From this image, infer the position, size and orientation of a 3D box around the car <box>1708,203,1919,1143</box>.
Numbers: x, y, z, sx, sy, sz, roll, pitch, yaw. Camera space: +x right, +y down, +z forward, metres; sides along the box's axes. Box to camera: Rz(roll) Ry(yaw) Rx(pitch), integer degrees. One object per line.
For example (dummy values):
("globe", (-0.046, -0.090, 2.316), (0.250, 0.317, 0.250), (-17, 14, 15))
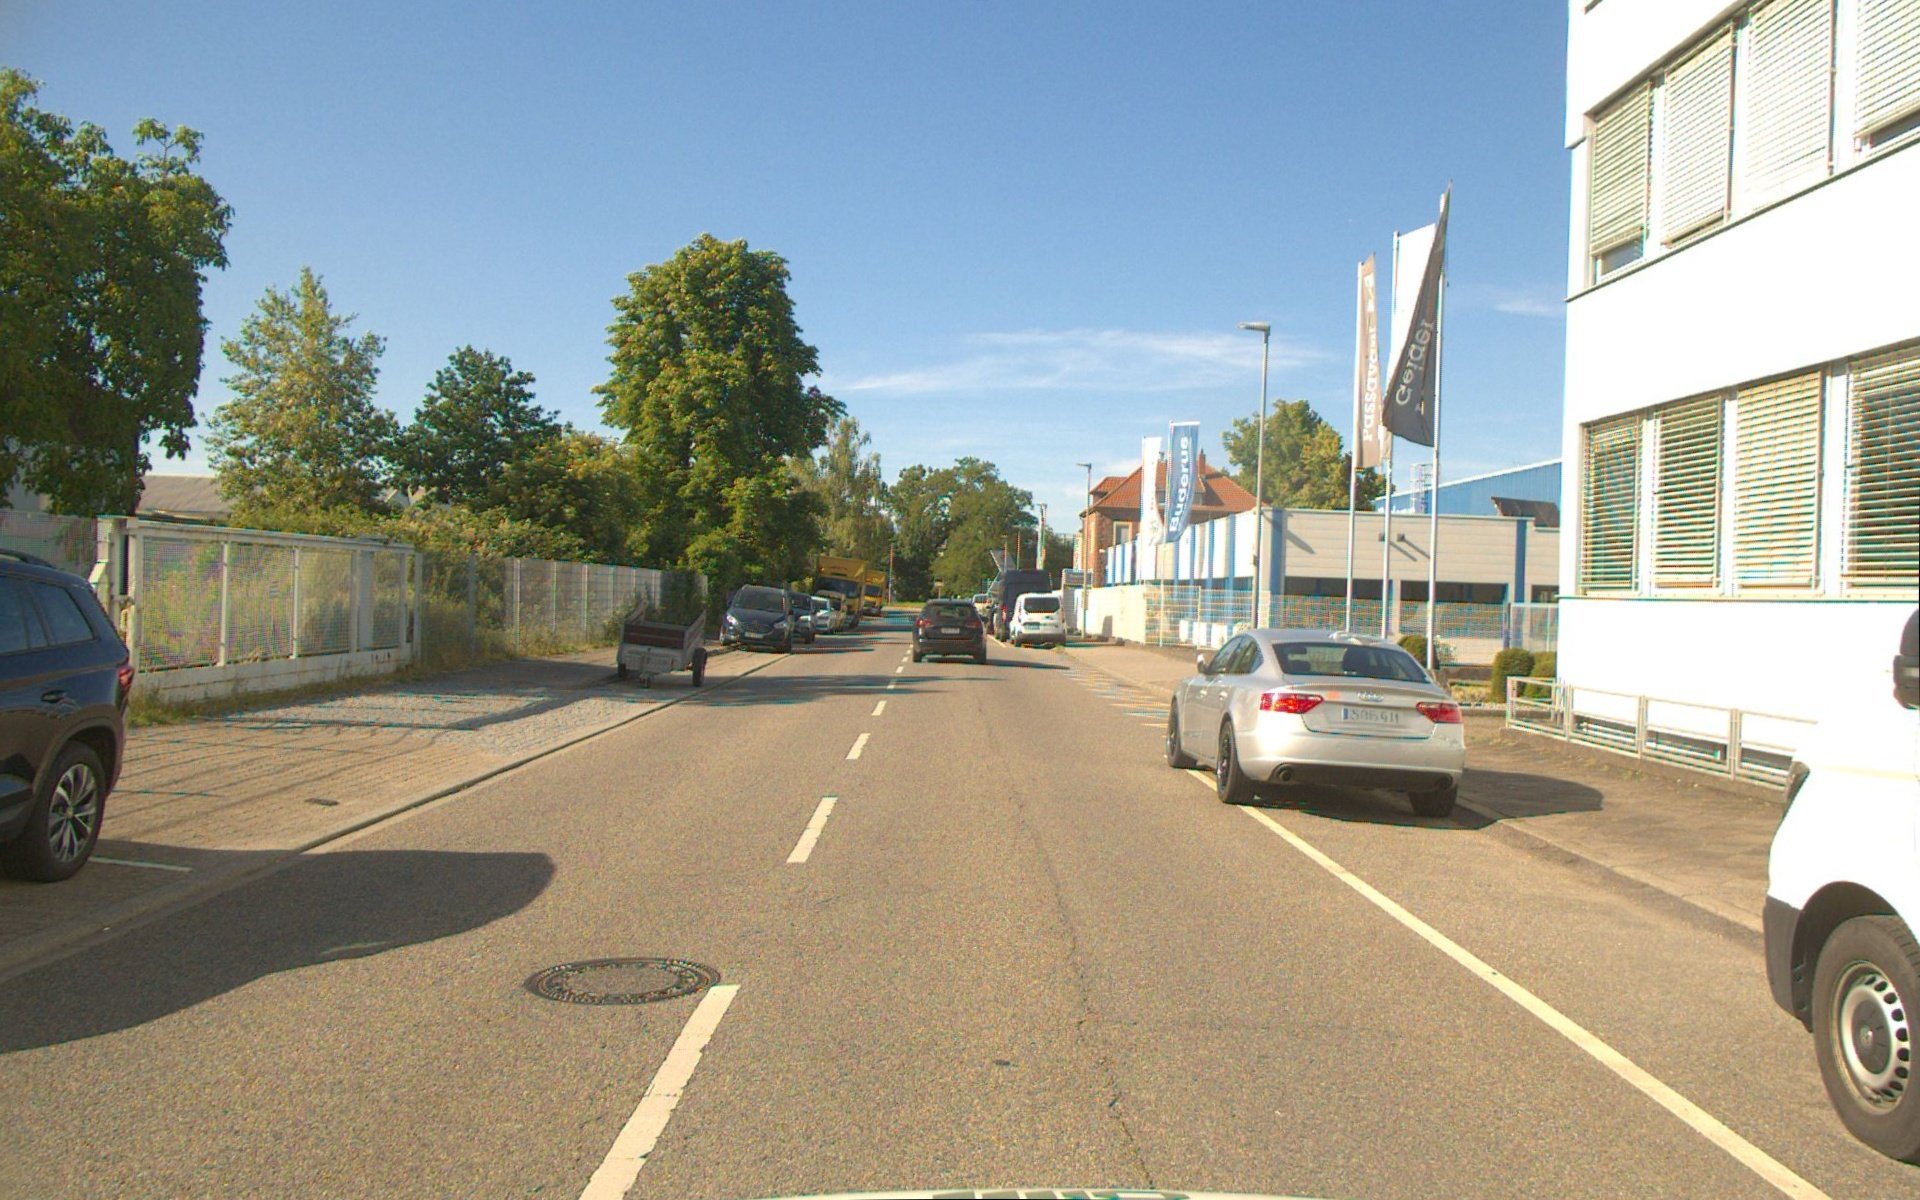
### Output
("car", (3.724, 0.238, 2.895), (1.953, 2.643, 6.049), (0, 1, -2))

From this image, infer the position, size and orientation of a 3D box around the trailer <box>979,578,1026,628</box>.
("trailer", (2.398, 0.181, 95.239), (2.410, 2.719, 5.700), (2, 0, -1))

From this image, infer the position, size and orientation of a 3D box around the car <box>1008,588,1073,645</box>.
("car", (2.803, 0.573, 58.779), (1.848, 1.829, 5.102), (3, 0, -1))

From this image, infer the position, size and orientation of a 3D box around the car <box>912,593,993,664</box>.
("car", (-0.172, 0.639, 39.670), (1.809, 1.557, 4.000), (1, 0, 0))

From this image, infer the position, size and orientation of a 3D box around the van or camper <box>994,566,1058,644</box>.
("van or camper", (2.544, 0.197, 65.217), (2.097, 2.807, 6.160), (3, -1, 0))

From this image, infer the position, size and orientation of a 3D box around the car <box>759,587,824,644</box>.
("car", (-5.817, 0.514, 57.482), (1.871, 1.691, 4.461), (6, 0, -3))

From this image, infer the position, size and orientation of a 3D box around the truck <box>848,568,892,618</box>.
("truck", (-7.066, -0.616, 131.274), (2.580, 3.563, 8.656), (8, 1, 0))

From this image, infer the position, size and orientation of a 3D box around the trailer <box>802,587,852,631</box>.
("trailer", (-6.127, 0.413, 76.777), (1.953, 1.975, 4.414), (1, 0, 0))

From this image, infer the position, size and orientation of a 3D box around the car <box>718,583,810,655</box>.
("car", (-5.460, 0.504, 46.584), (1.755, 1.760, 4.803), (5, 0, 1))

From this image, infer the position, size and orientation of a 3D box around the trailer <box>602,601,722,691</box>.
("trailer", (-5.100, 0.753, 28.617), (1.447, 1.377, 3.078), (3, 0, 0))

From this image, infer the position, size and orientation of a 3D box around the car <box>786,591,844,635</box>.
("car", (-6.149, 0.527, 70.850), (1.870, 1.620, 5.025), (6, 0, 0))

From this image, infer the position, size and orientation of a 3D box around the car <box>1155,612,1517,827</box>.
("car", (3.002, 0.879, 14.429), (1.856, 1.429, 5.123), (3, 0, -1))

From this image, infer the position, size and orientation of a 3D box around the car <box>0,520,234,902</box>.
("car", (-5.334, 0.436, 7.293), (1.990, 1.723, 5.105), (6, 0, -2))

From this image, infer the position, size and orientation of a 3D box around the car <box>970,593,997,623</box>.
("car", (1.780, 0.617, 125.278), (1.836, 2.049, 5.160), (3, 0, 0))

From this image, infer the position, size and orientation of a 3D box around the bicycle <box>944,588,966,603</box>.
("bicycle", (-0.432, -0.384, 150.009), (0.797, 1.290, 2.231), (4, -1, -35))

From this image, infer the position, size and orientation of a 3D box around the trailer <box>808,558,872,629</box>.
("trailer", (-6.270, -0.320, 87.687), (2.931, 3.503, 8.158), (2, 0, -2))
